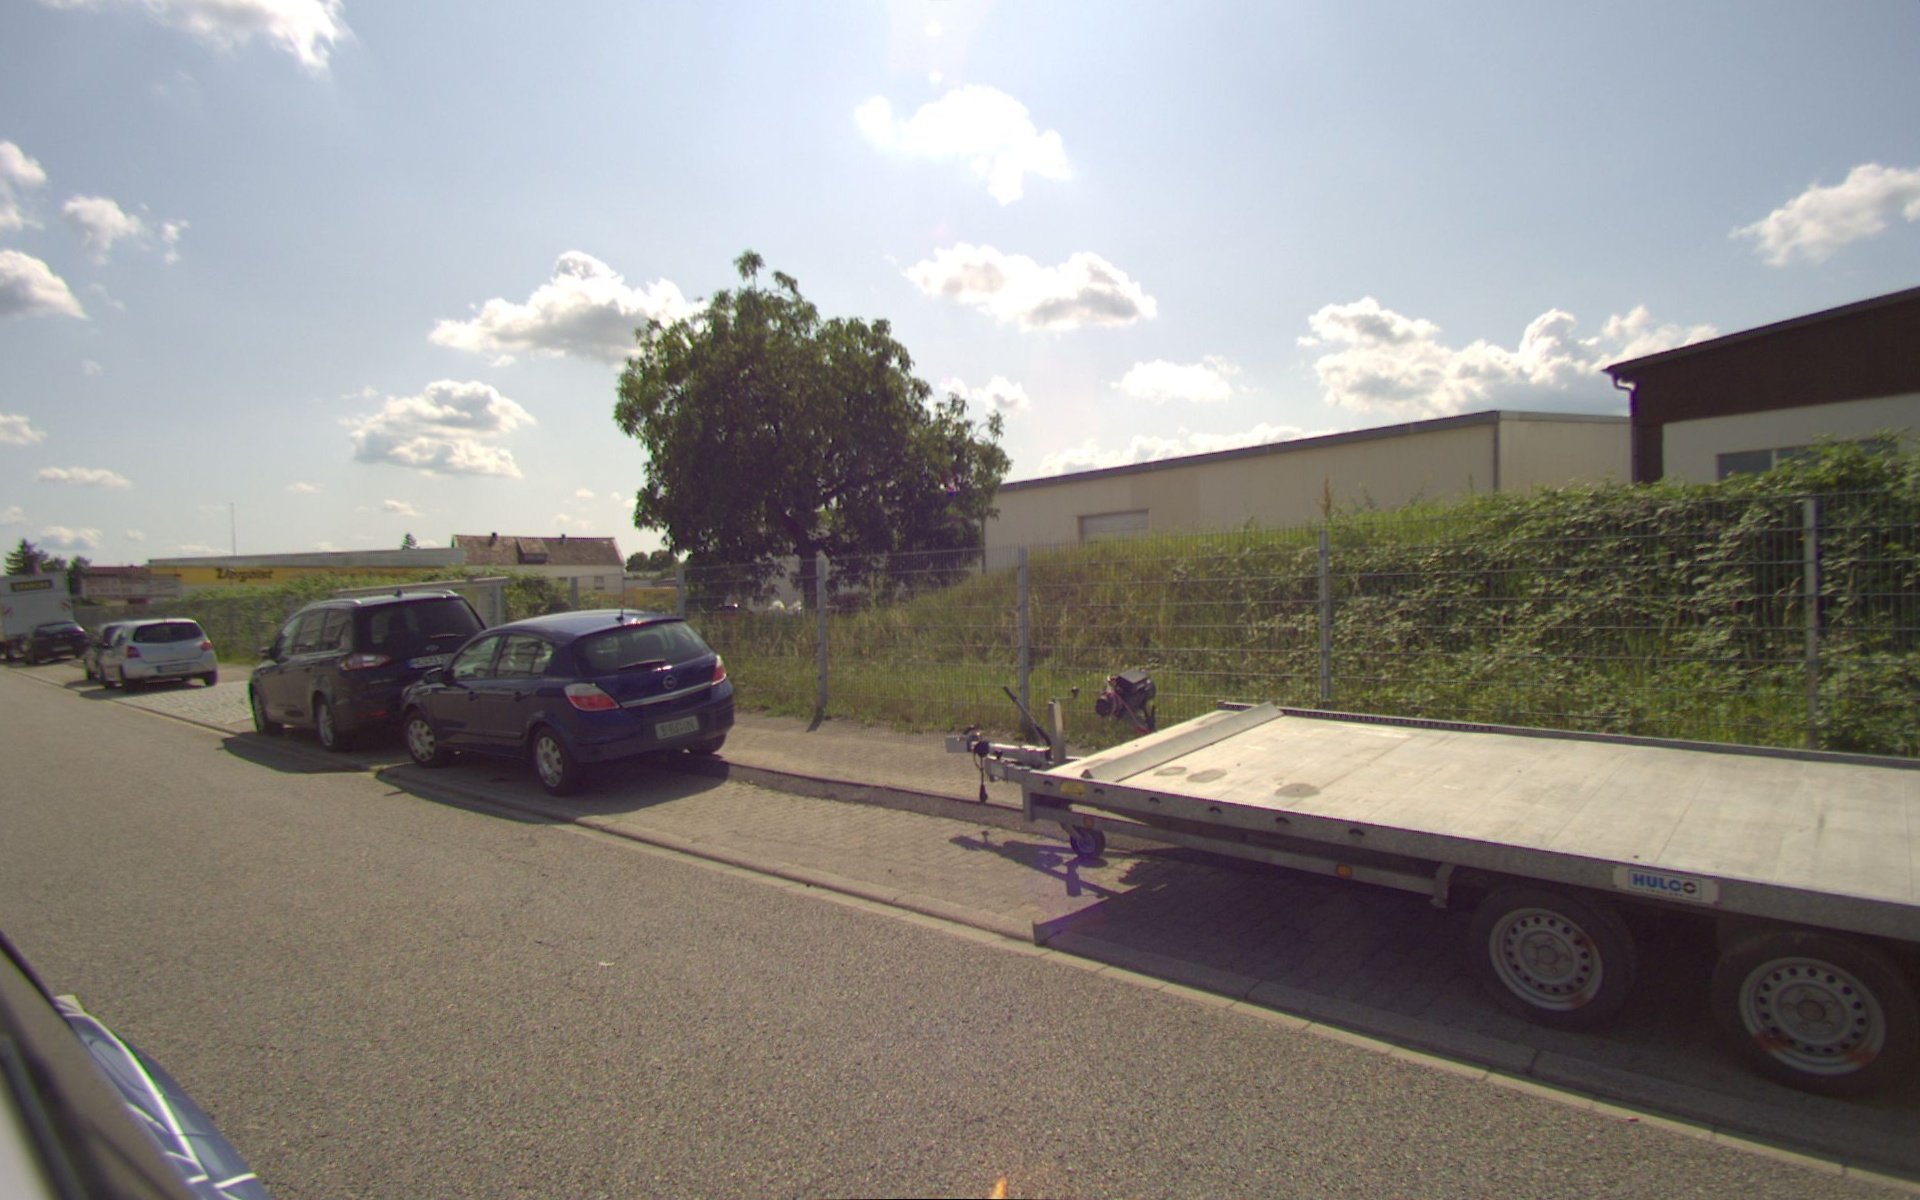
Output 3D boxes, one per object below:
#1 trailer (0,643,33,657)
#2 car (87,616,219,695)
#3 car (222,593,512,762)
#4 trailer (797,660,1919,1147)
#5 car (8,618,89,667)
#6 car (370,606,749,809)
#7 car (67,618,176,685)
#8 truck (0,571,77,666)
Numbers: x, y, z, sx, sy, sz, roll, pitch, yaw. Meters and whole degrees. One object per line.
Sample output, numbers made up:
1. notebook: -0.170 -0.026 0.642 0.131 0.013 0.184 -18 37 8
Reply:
1. trailer: -48.754 2.552 51.211 4.442 0.556 2.212 -1 0 41
2. car: -17.715 1.172 22.171 3.708 1.494 1.599 -2 2 42
3. car: -7.702 0.853 12.924 4.710 1.763 1.782 -1 0 41
4. trailer: 2.430 0.946 4.357 7.132 0.889 2.247 -1 4 43
5. car: -32.187 1.464 35.707 3.826 1.439 1.603 -2 6 42
6. car: -4.012 0.874 9.794 4.198 1.524 1.561 -1 1 40
7. car: -21.177 1.256 25.509 3.799 1.409 1.552 -2 4 44
8. truck: -37.725 0.784 40.622 6.903 3.386 2.228 -2 4 41
